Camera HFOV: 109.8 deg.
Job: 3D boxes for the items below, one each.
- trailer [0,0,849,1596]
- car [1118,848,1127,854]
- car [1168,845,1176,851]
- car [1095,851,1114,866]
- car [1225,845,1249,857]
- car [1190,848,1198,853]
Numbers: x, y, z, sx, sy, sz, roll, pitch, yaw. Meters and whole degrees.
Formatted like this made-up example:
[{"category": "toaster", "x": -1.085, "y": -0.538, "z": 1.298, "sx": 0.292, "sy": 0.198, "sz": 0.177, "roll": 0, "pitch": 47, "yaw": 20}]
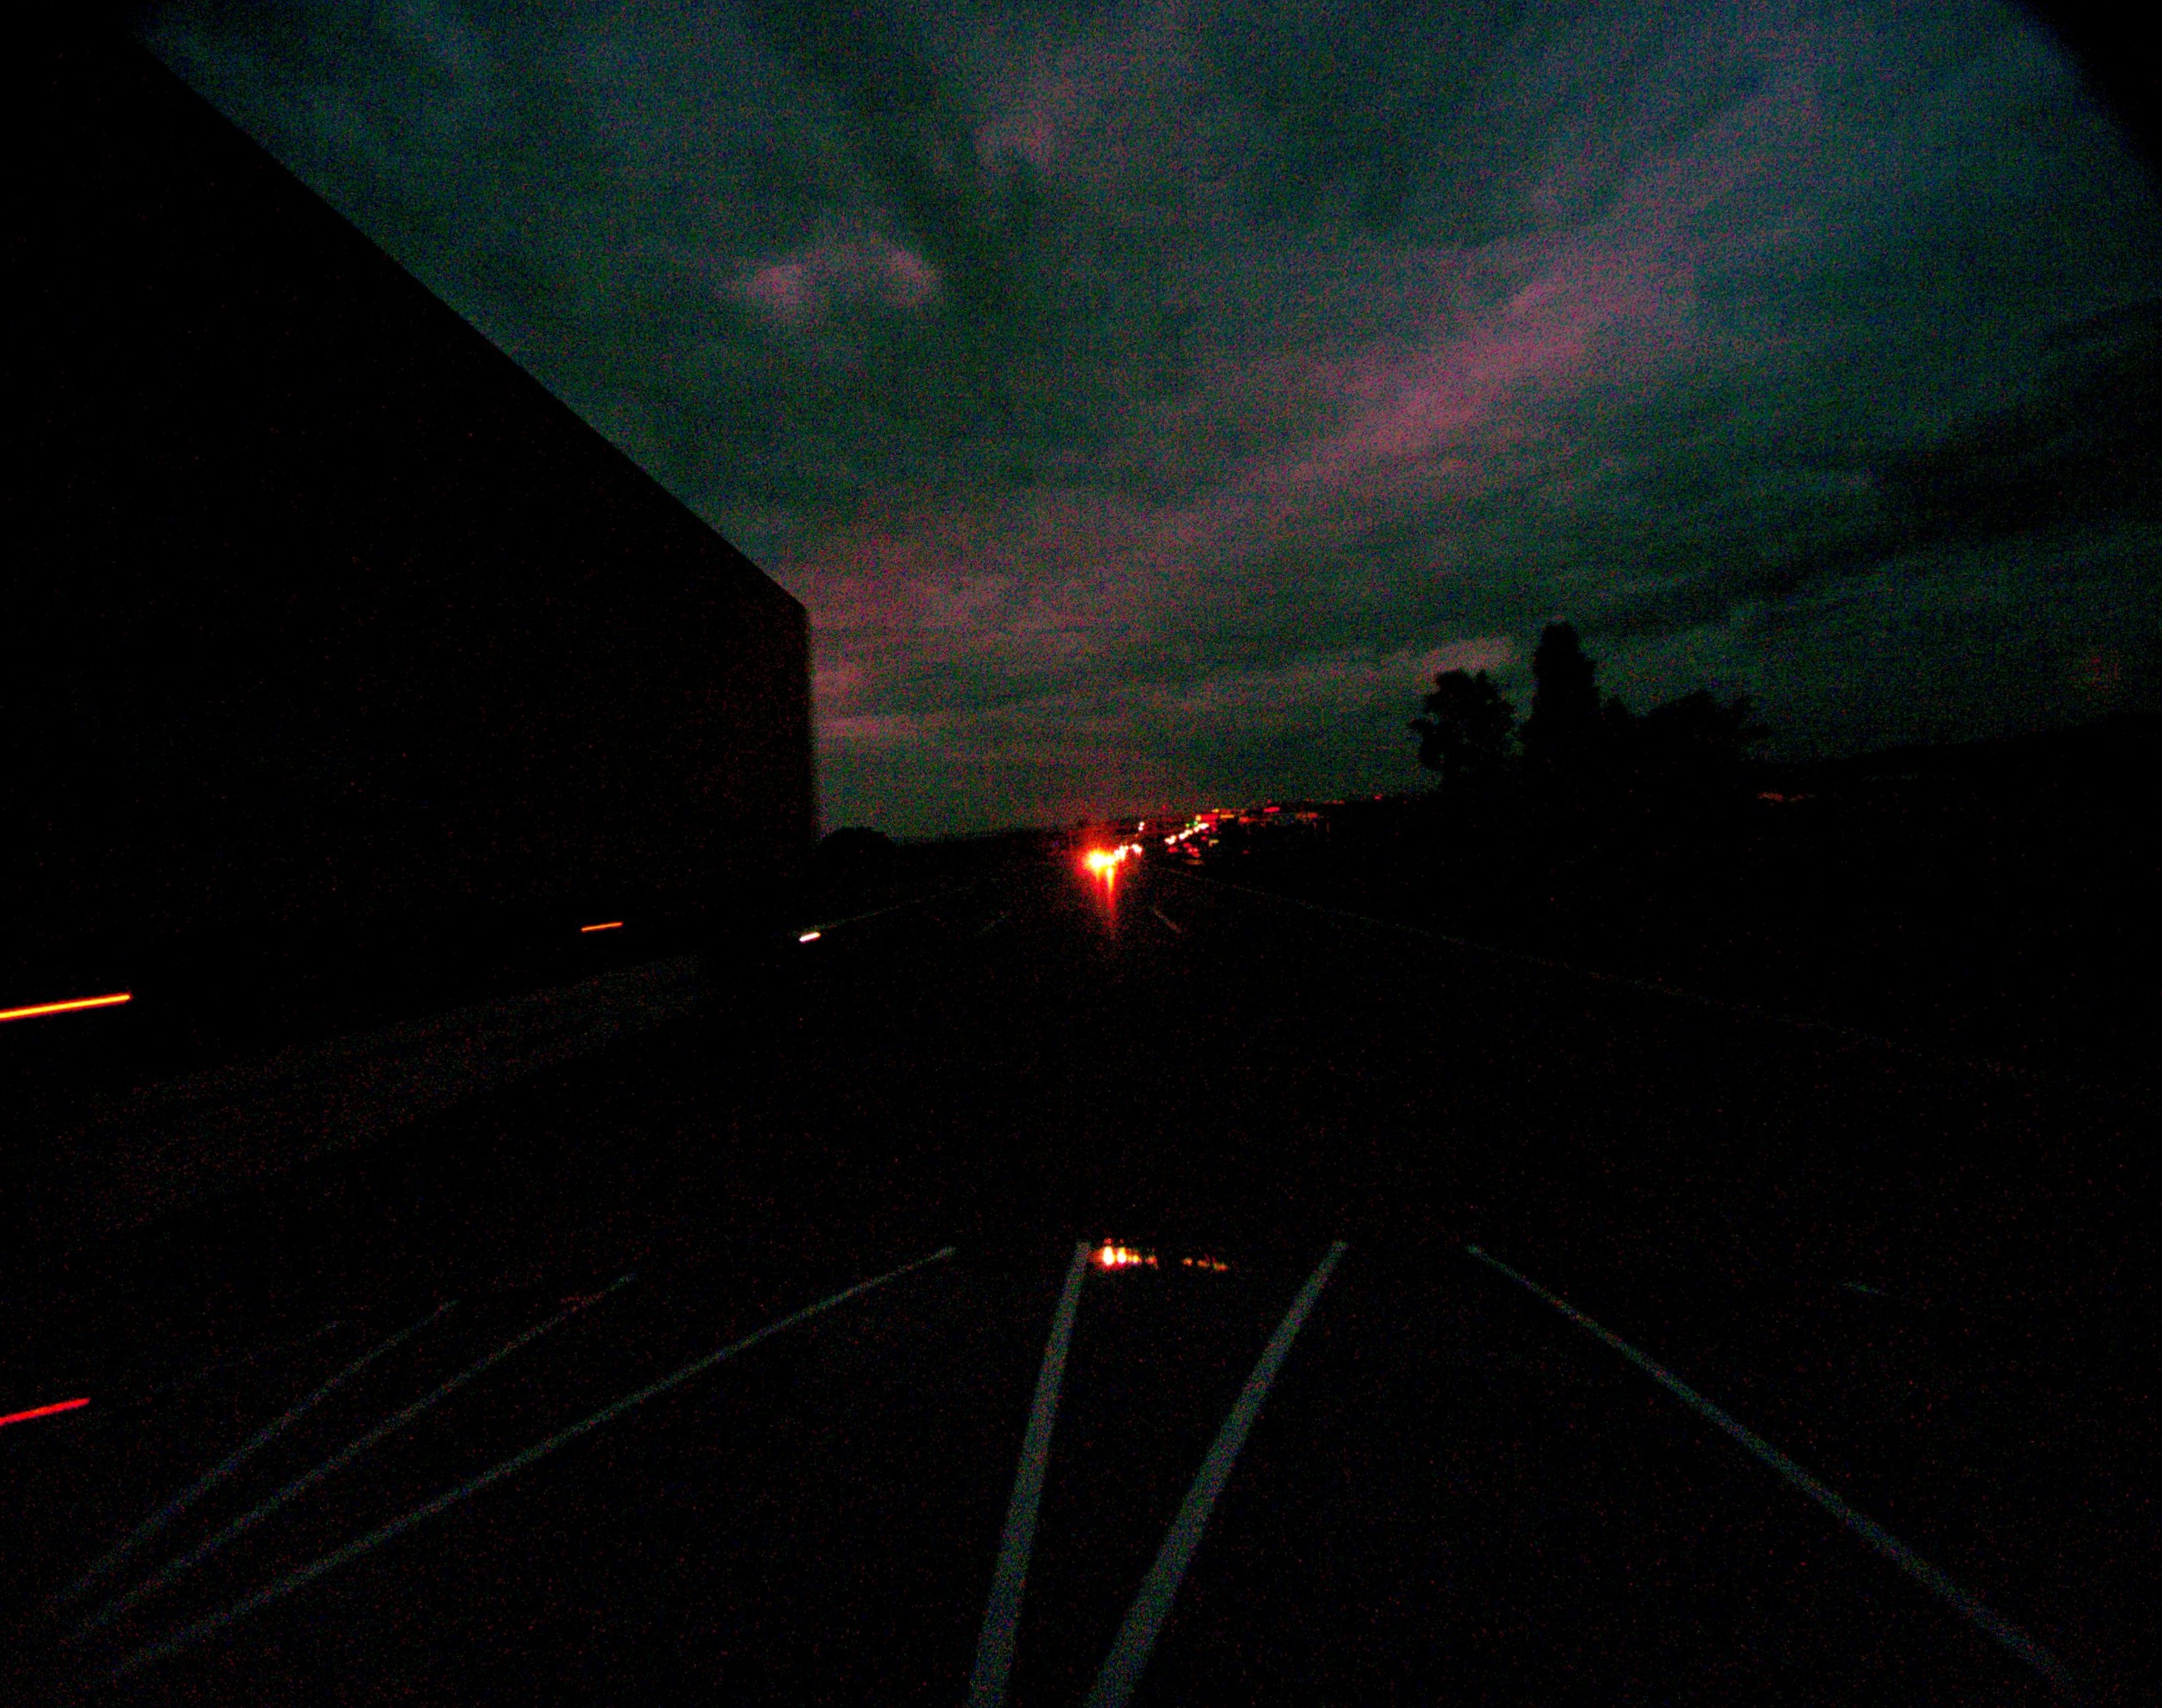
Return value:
[{"category": "trailer", "x": -3.948, "y": -0.240, "z": 3.597, "sx": 2.728, "sy": 4.047, "sz": 8.830, "roll": -2, "pitch": 0, "yaw": 1}, {"category": "car", "x": 10.784, "y": -0.867, "z": 196.489, "sx": 1.998, "sy": 1.342, "sz": 4.176, "roll": -4, "pitch": 2, "yaw": 6}, {"category": "car", "x": 25.970, "y": -1.732, "z": 217.093, "sx": 1.998, "sy": 1.395, "sz": 4.329, "roll": -2, "pitch": 0, "yaw": 2}, {"category": "car", "x": 2.480, "y": 0.431, "z": 79.208, "sx": 1.998, "sy": 1.342, "sz": 4.174, "roll": 0, "pitch": 2, "yaw": 3}, {"category": "car", "x": 19.768, "y": -0.363, "z": 96.547, "sx": 1.999, "sy": 1.395, "sz": 4.797, "roll": -2, "pitch": 0, "yaw": -2}, {"category": "car", "x": 27.644, "y": -0.871, "z": 185.918, "sx": 1.725, "sy": 1.220, "sz": 4.183, "roll": -2, "pitch": 0, "yaw": 3}]
